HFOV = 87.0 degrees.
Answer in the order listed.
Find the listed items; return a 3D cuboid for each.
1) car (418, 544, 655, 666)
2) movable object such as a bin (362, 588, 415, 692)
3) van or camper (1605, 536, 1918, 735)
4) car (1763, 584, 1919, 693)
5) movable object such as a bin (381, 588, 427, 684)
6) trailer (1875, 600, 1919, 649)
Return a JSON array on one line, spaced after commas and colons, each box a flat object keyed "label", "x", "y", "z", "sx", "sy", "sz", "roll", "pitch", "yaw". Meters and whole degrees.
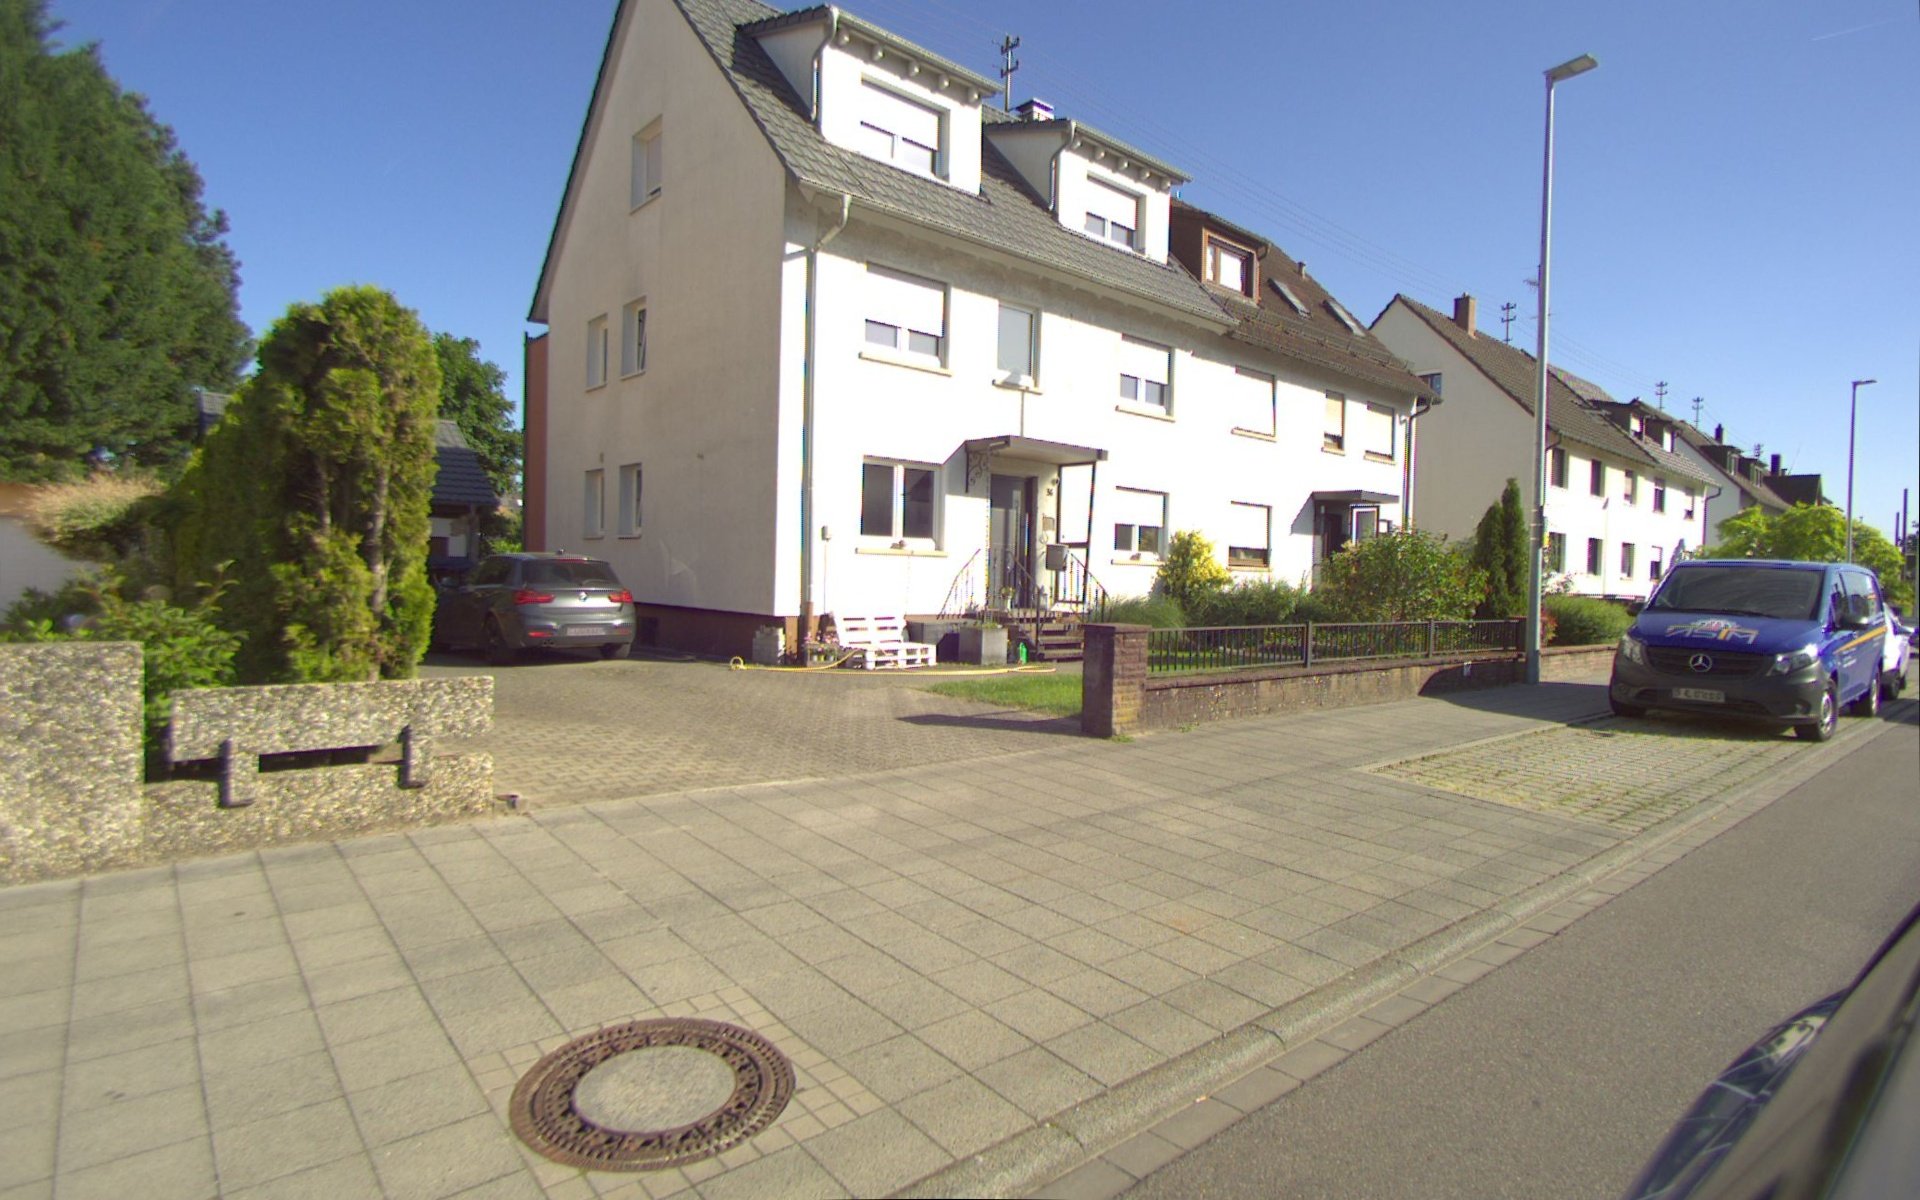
[{"label": "car", "x": -5.942, "y": -0.001, "z": 13.974, "sx": 1.784, "sy": 1.438, "sz": 3.887, "roll": 0, "pitch": 2, "yaw": -43}, {"label": "movable object such as a bin", "x": -5.428, "y": 0.371, "z": 9.615, "sx": 0.399, "sy": 0.962, "sz": 0.240, "roll": 0, "pitch": 0, "yaw": -43}, {"label": "van or camper", "x": 9.763, "y": 0.271, "z": 12.122, "sx": 5.486, "sy": 1.869, "sz": 1.953, "roll": 0, "pitch": 3, "yaw": -42}, {"label": "car", "x": 14.730, "y": 0.526, "z": 16.628, "sx": 5.198, "sy": 1.476, "sz": 1.732, "roll": 0, "pitch": 2, "yaw": -44}, {"label": "movable object such as a bin", "x": -5.545, "y": 0.353, "z": 10.095, "sx": 0.239, "sy": 0.937, "sz": 0.333, "roll": 0, "pitch": 0, "yaw": 34}, {"label": "trailer", "x": 26.505, "y": 0.683, "z": 27.284, "sx": 6.330, "sy": 1.144, "sz": 2.275, "roll": 0, "pitch": 5, "yaw": -44}]
